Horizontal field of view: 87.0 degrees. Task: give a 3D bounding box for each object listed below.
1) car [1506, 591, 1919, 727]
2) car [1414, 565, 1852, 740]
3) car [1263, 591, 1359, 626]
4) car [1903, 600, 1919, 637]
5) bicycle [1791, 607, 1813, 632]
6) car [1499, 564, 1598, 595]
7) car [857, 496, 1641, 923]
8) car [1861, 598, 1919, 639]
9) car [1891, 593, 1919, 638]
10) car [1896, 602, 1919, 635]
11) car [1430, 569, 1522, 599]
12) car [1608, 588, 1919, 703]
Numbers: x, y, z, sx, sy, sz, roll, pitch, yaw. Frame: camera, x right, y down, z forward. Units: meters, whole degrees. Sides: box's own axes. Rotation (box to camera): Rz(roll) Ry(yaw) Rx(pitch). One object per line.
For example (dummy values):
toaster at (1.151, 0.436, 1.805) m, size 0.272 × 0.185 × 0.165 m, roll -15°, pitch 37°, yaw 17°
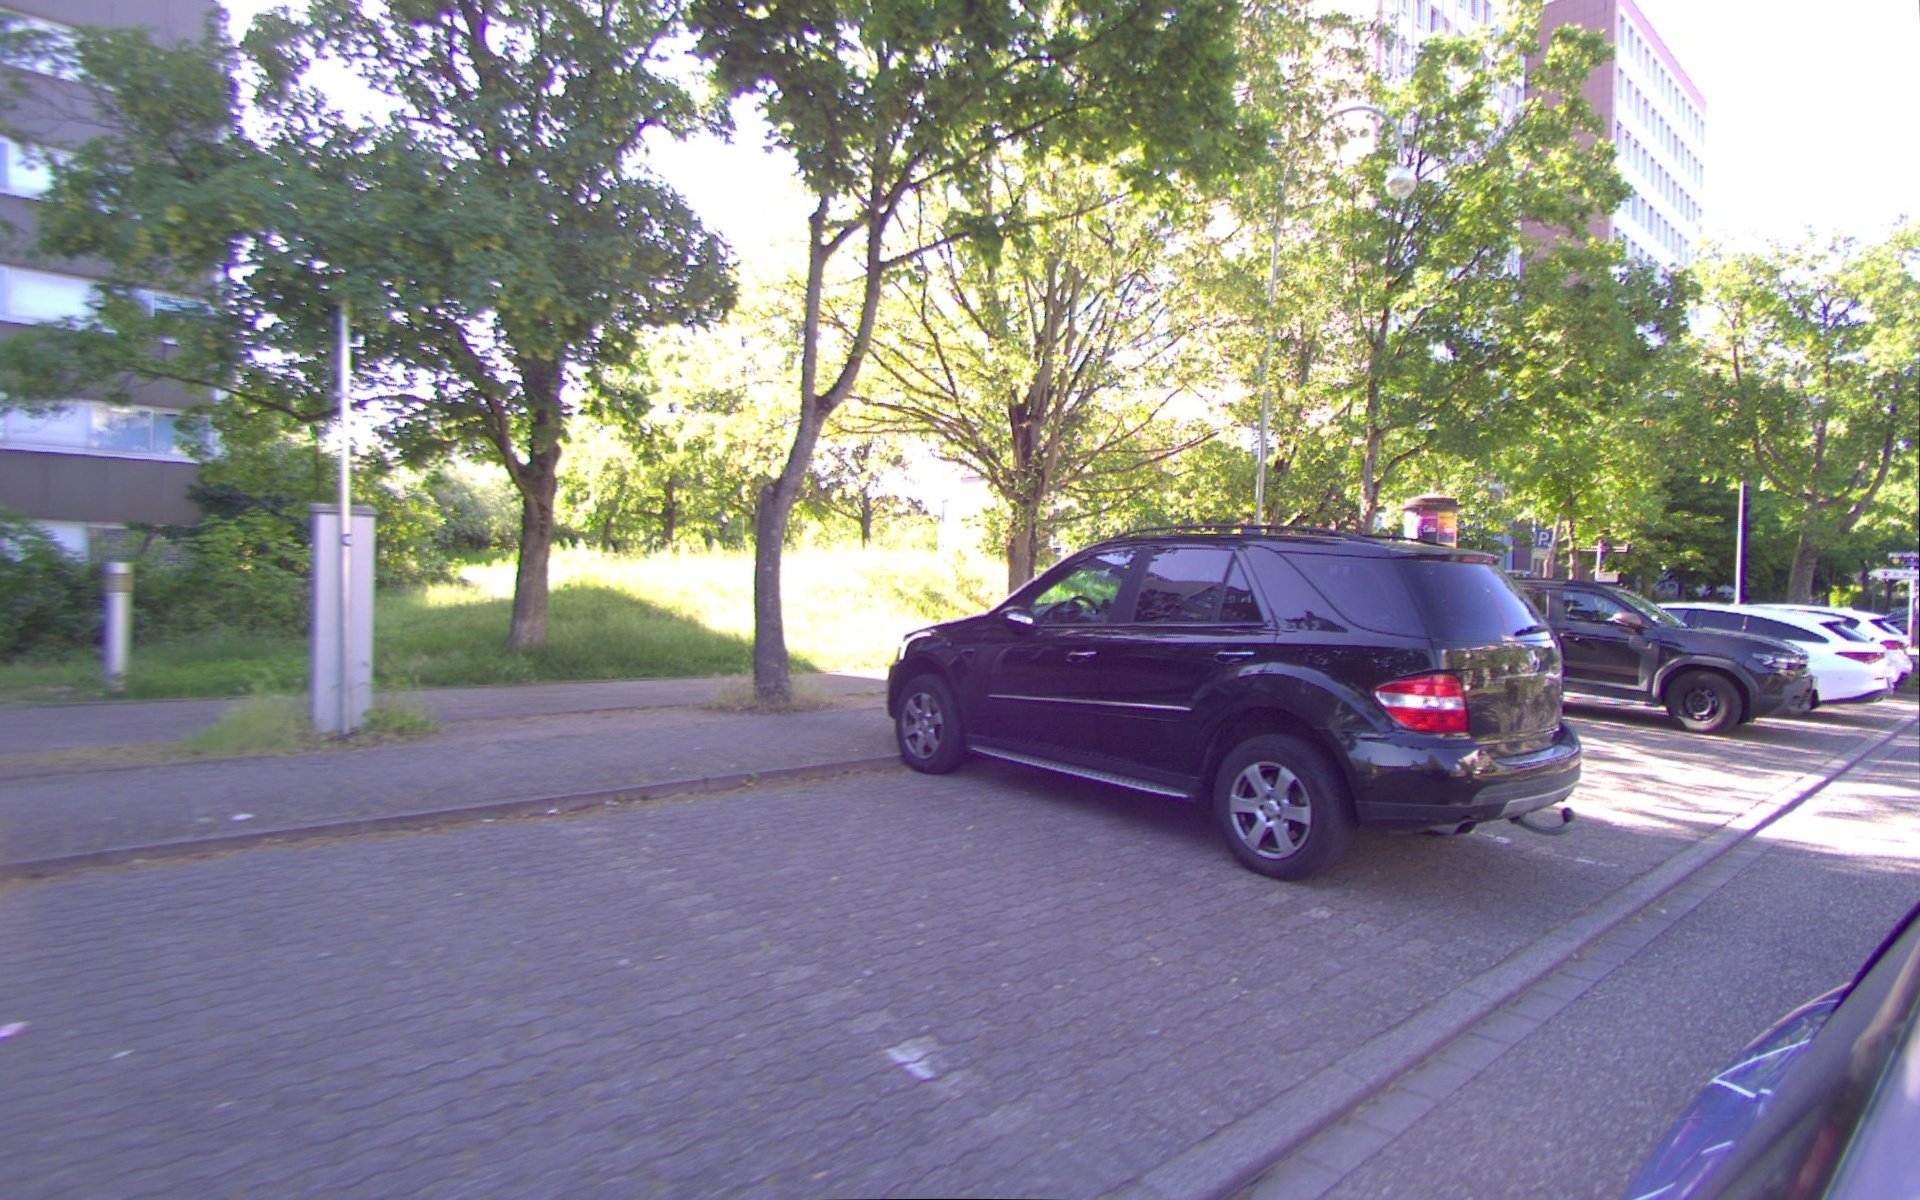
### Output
car at (10.417, 0.687, 14.286) m, size 1.786 × 1.564 × 4.449 m, roll 0°, pitch 1°, yaw -41°
car at (8.013, 0.468, 12.359) m, size 1.704 × 1.637 × 4.125 m, roll -1°, pitch 4°, yaw -43°
car at (15.922, 0.338, 46.005) m, size 1.622 × 1.487 × 3.850 m, roll 0°, pitch 1°, yaw -41°
car at (43.631, 0.883, 43.907) m, size 3.872 × 1.584 × 1.780 m, roll 4°, pitch 3°, yaw 44°
bicycle at (35.581, 0.812, 42.763) m, size 1.921 × 1.006 × 0.303 m, roll 0°, pitch 0°, yaw -38°
car at (34.706, -1.234, 59.753) m, size 1.845 × 1.707 × 4.719 m, roll 1°, pitch 1°, yaw -45°
car at (1.463, 0.334, 6.649) m, size 1.965 × 1.800 × 4.597 m, roll 0°, pitch 3°, yaw -41°
car at (37.745, 0.819, 39.366) m, size 1.565 × 1.464 × 3.841 m, roll 3°, pitch 3°, yaw -44°
car at (39.943, 0.681, 40.503) m, size 1.693 × 1.772 × 3.682 m, roll 0°, pitch 3°, yaw -39°
car at (48.441, 0.987, 49.002) m, size 1.828 × 1.572 × 4.427 m, roll 1°, pitch 2°, yaw -42°
car at (28.567, -0.907, 56.120) m, size 4.224 × 1.525 × 1.697 m, roll 2°, pitch 1°, yaw 43°
car at (14.750, 0.716, 18.607) m, size 1.806 × 1.612 × 4.433 m, roll 0°, pitch 4°, yaw -43°
